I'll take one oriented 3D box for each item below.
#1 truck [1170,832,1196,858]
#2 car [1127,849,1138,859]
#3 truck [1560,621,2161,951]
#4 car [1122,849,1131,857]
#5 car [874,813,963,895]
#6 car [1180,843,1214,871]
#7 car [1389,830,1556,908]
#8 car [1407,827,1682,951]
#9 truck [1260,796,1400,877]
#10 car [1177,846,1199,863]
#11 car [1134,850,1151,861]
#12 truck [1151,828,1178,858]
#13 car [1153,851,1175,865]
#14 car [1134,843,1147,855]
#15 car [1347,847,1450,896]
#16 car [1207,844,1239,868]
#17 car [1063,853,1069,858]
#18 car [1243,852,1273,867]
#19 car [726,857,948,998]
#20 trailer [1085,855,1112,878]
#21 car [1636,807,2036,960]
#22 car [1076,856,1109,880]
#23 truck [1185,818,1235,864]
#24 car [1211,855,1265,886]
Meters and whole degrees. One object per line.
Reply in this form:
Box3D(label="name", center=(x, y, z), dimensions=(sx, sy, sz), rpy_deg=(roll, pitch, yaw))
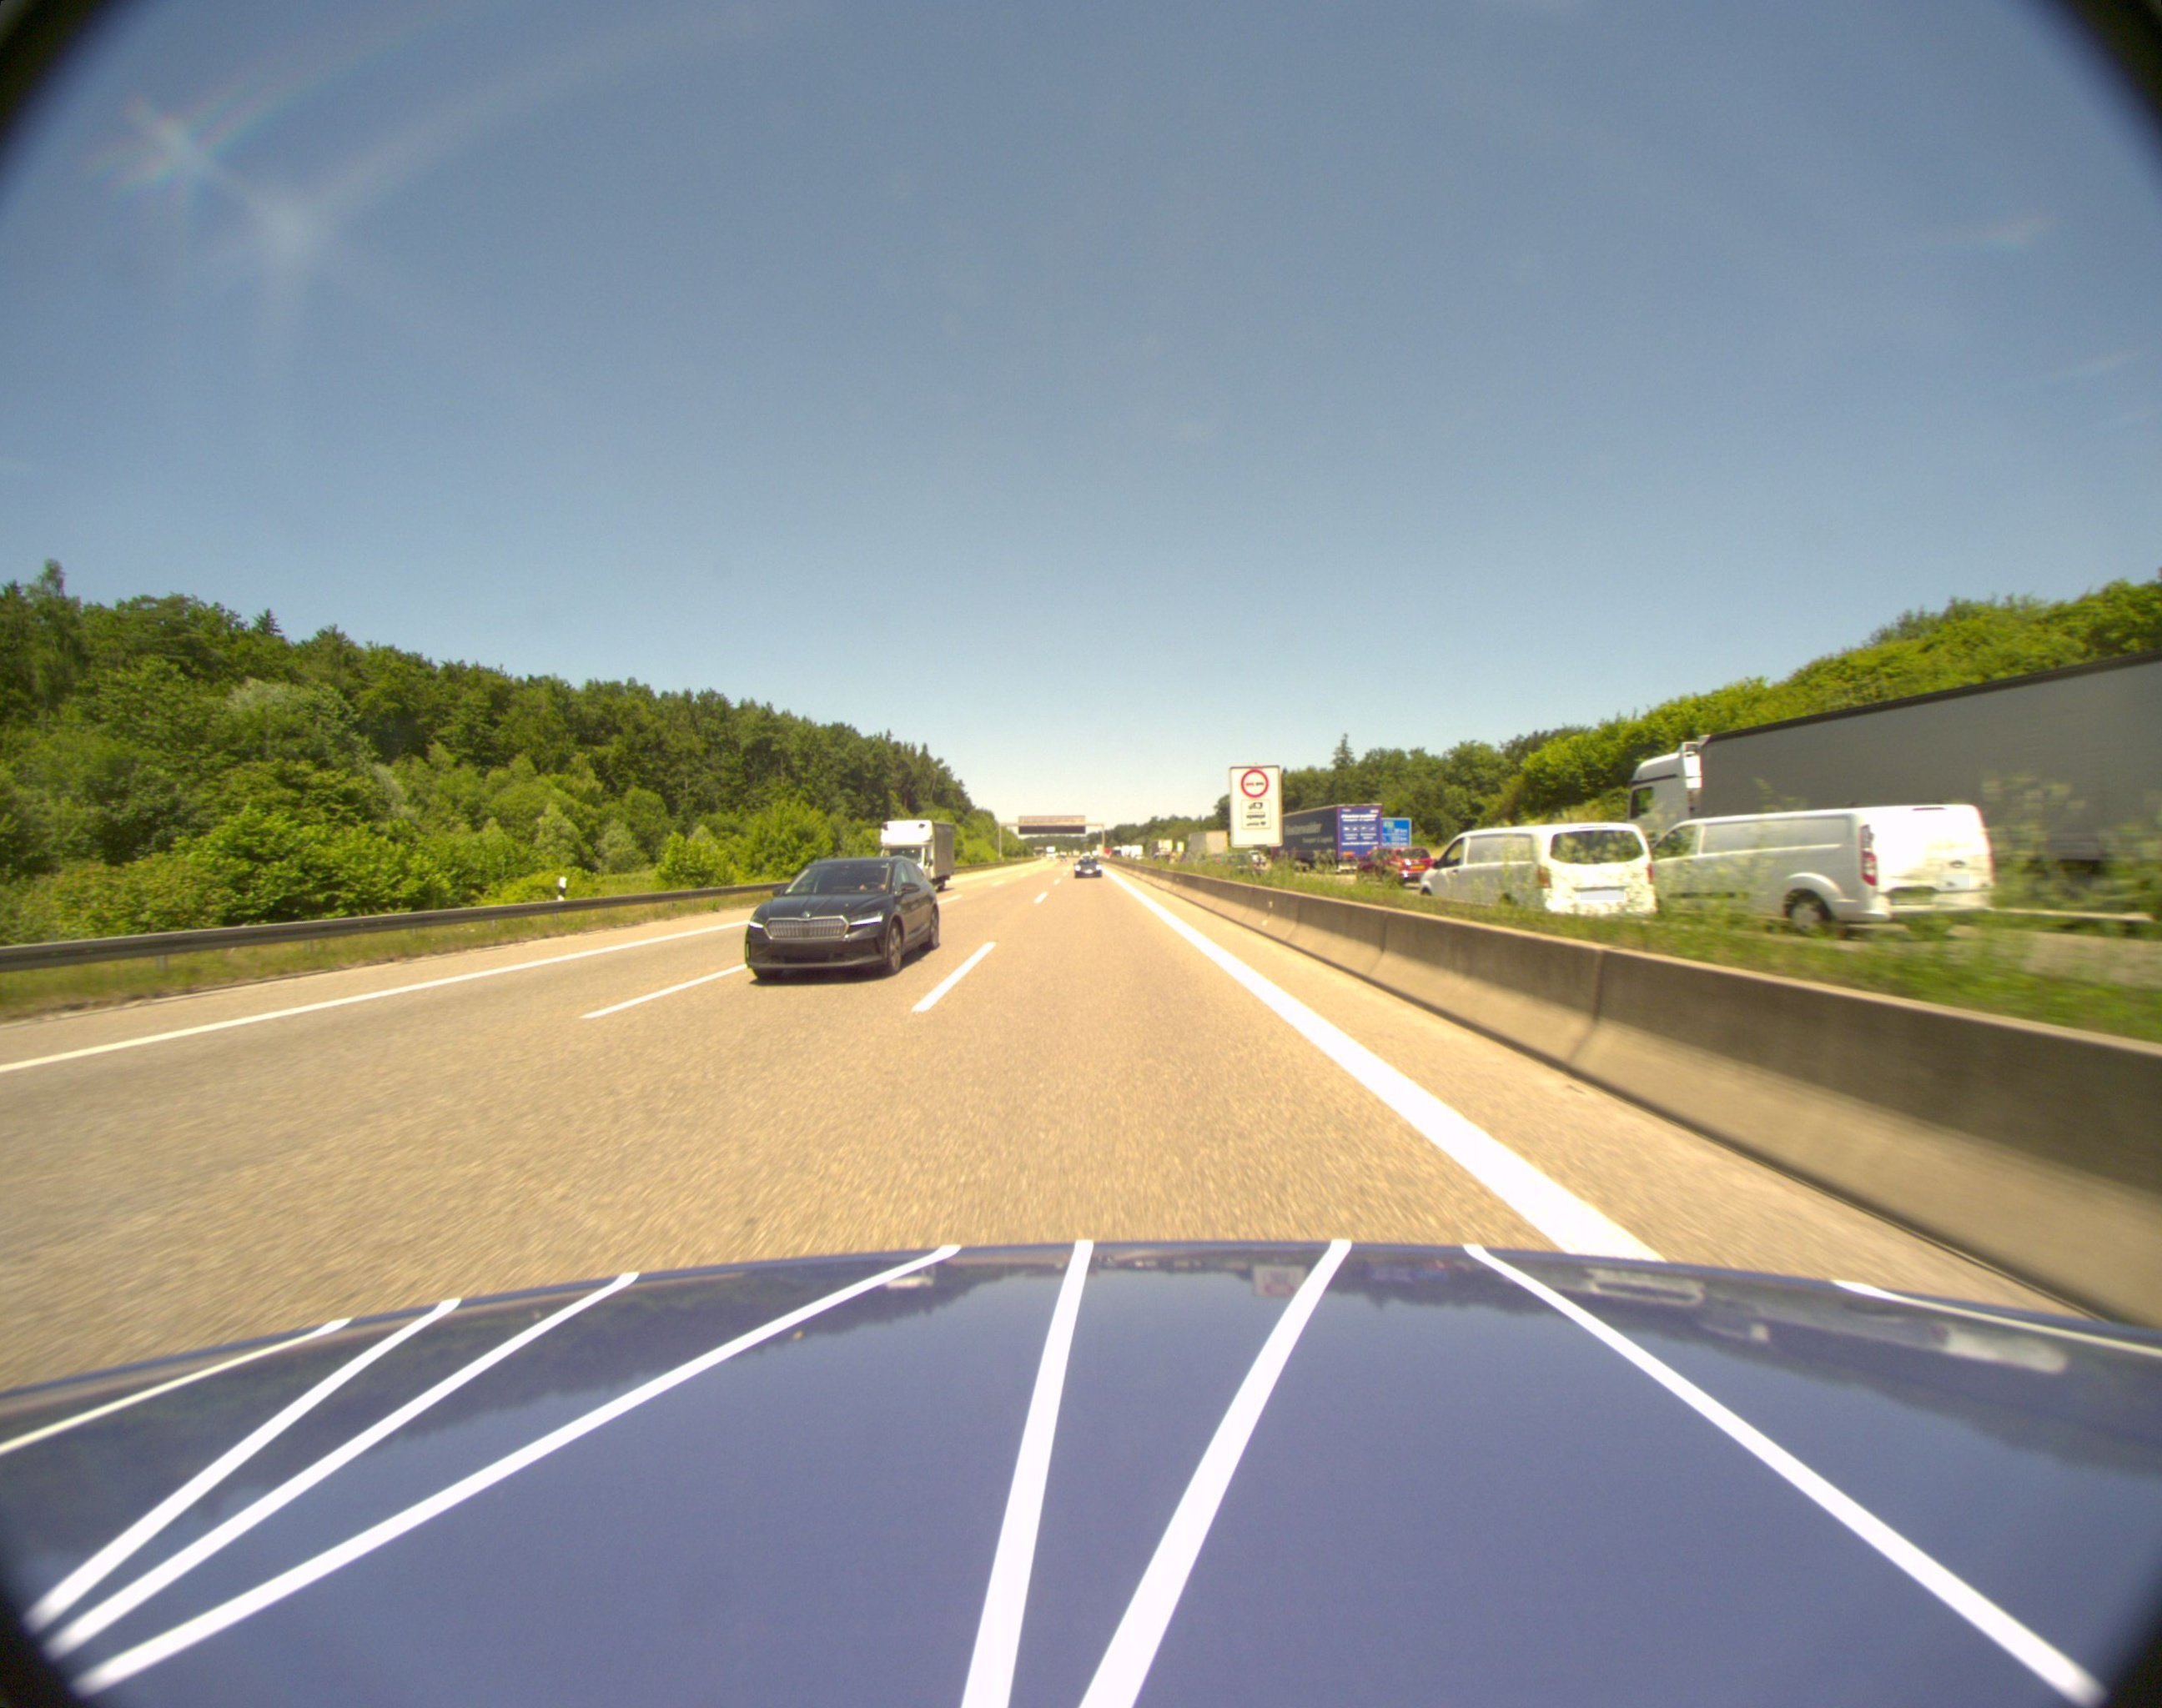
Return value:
Box3D(label="truck", center=(23.064, -2.097, 173.270), dimensions=(3.705, 5.470, 19.451), rpy_deg=(-2, 1, 1))
Box3D(label="car", center=(11.016, 0.053, 163.095), dimensions=(1.998, 2.002, 4.369), rpy_deg=(-2, 1, 1))
Box3D(label="truck", center=(16.467, -1.019, 13.757), dimensions=(3.705, 4.430, 19.451), rpy_deg=(-2, 1, 1))
Box3D(label="car", center=(11.615, -0.297, 194.773), dimensions=(2.121, 2.002, 4.373), rpy_deg=(-2, 0, 1))
Box3D(label="car", center=(-7.363, -0.048, 35.519), dimensions=(2.303, 3.317, 7.622), rpy_deg=(-2, 1, 1))
Box3D(label="car", center=(8.739, 0.242, 57.578), dimensions=(1.998, 2.002, 4.000), rpy_deg=(-2, 0, 1))
Box3D(label="car", center=(10.592, 0.342, 21.085), dimensions=(1.986, 1.833, 5.019), rpy_deg=(-2, 1, 0))
Box3D(label="car", center=(8.180, 0.512, 14.143), dimensions=(1.986, 1.833, 5.019), rpy_deg=(-2, 1, 0))
Box3D(label="truck", center=(16.334, -1.086, 52.571), dimensions=(3.705, 4.430, 19.451), rpy_deg=(-2, 1, 1))
Box3D(label="car", center=(12.708, 0.049, 90.435), dimensions=(1.998, 2.002, 4.000), rpy_deg=(-2, 0, 1))
Box3D(label="car", center=(8.620, 0.159, 106.797), dimensions=(1.896, 1.369, 3.999), rpy_deg=(-2, 1, -1))
Box3D(label="truck", center=(16.550, -2.208, 152.396), dimensions=(3.705, 5.470, 19.451), rpy_deg=(-2, 1, 1))
Box3D(label="car", center=(8.826, 0.439, 80.944), dimensions=(1.896, 1.369, 3.999), rpy_deg=(-2, 1, -1))
Box3D(label="car", center=(9.200, -0.806, 118.429), dimensions=(1.674, 1.745, 4.249), rpy_deg=(-2, 1, 1))
Box3D(label="car", center=(12.021, 0.596, 29.148), dimensions=(1.896, 1.669, 4.757), rpy_deg=(-2, 1, -1))
Box3D(label="car", center=(12.188, 0.173, 65.578), dimensions=(1.998, 2.002, 4.000), rpy_deg=(-2, 0, 1))
Box3D(label="car", center=(-4.181, 0.399, 211.027), dimensions=(1.719, 1.431, 4.457), rpy_deg=(-2, 0, -1))
Box3D(label="car", center=(17.202, 0.504, 73.901), dimensions=(1.896, 1.369, 3.999), rpy_deg=(-2, 1, -1))
Box3D(label="car", center=(-3.381, 0.913, 11.571), dimensions=(1.990, 1.610, 4.456), rpy_deg=(-2, 1, -1))
Box3D(label="trailer", center=(1.219, 0.824, 51.575), dimensions=(1.688, 1.399, 3.047), rpy_deg=(-2, 0, 4))
Box3D(label="car", center=(12.004, 0.379, 12.699), dimensions=(1.896, 2.012, 4.757), rpy_deg=(-2, 1, -1))
Box3D(label="car", center=(0.769, 0.828, 48.212), dimensions=(1.718, 1.431, 4.459), rpy_deg=(1, 0, 5))
Box3D(label="truck", center=(16.894, -1.655, 101.573), dimensions=(3.705, 5.470, 19.451), rpy_deg=(-2, 1, 1))
Box3D(label="car", center=(7.963, 0.793, 38.892), dimensions=(1.896, 1.369, 3.999), rpy_deg=(-2, 1, -1))
